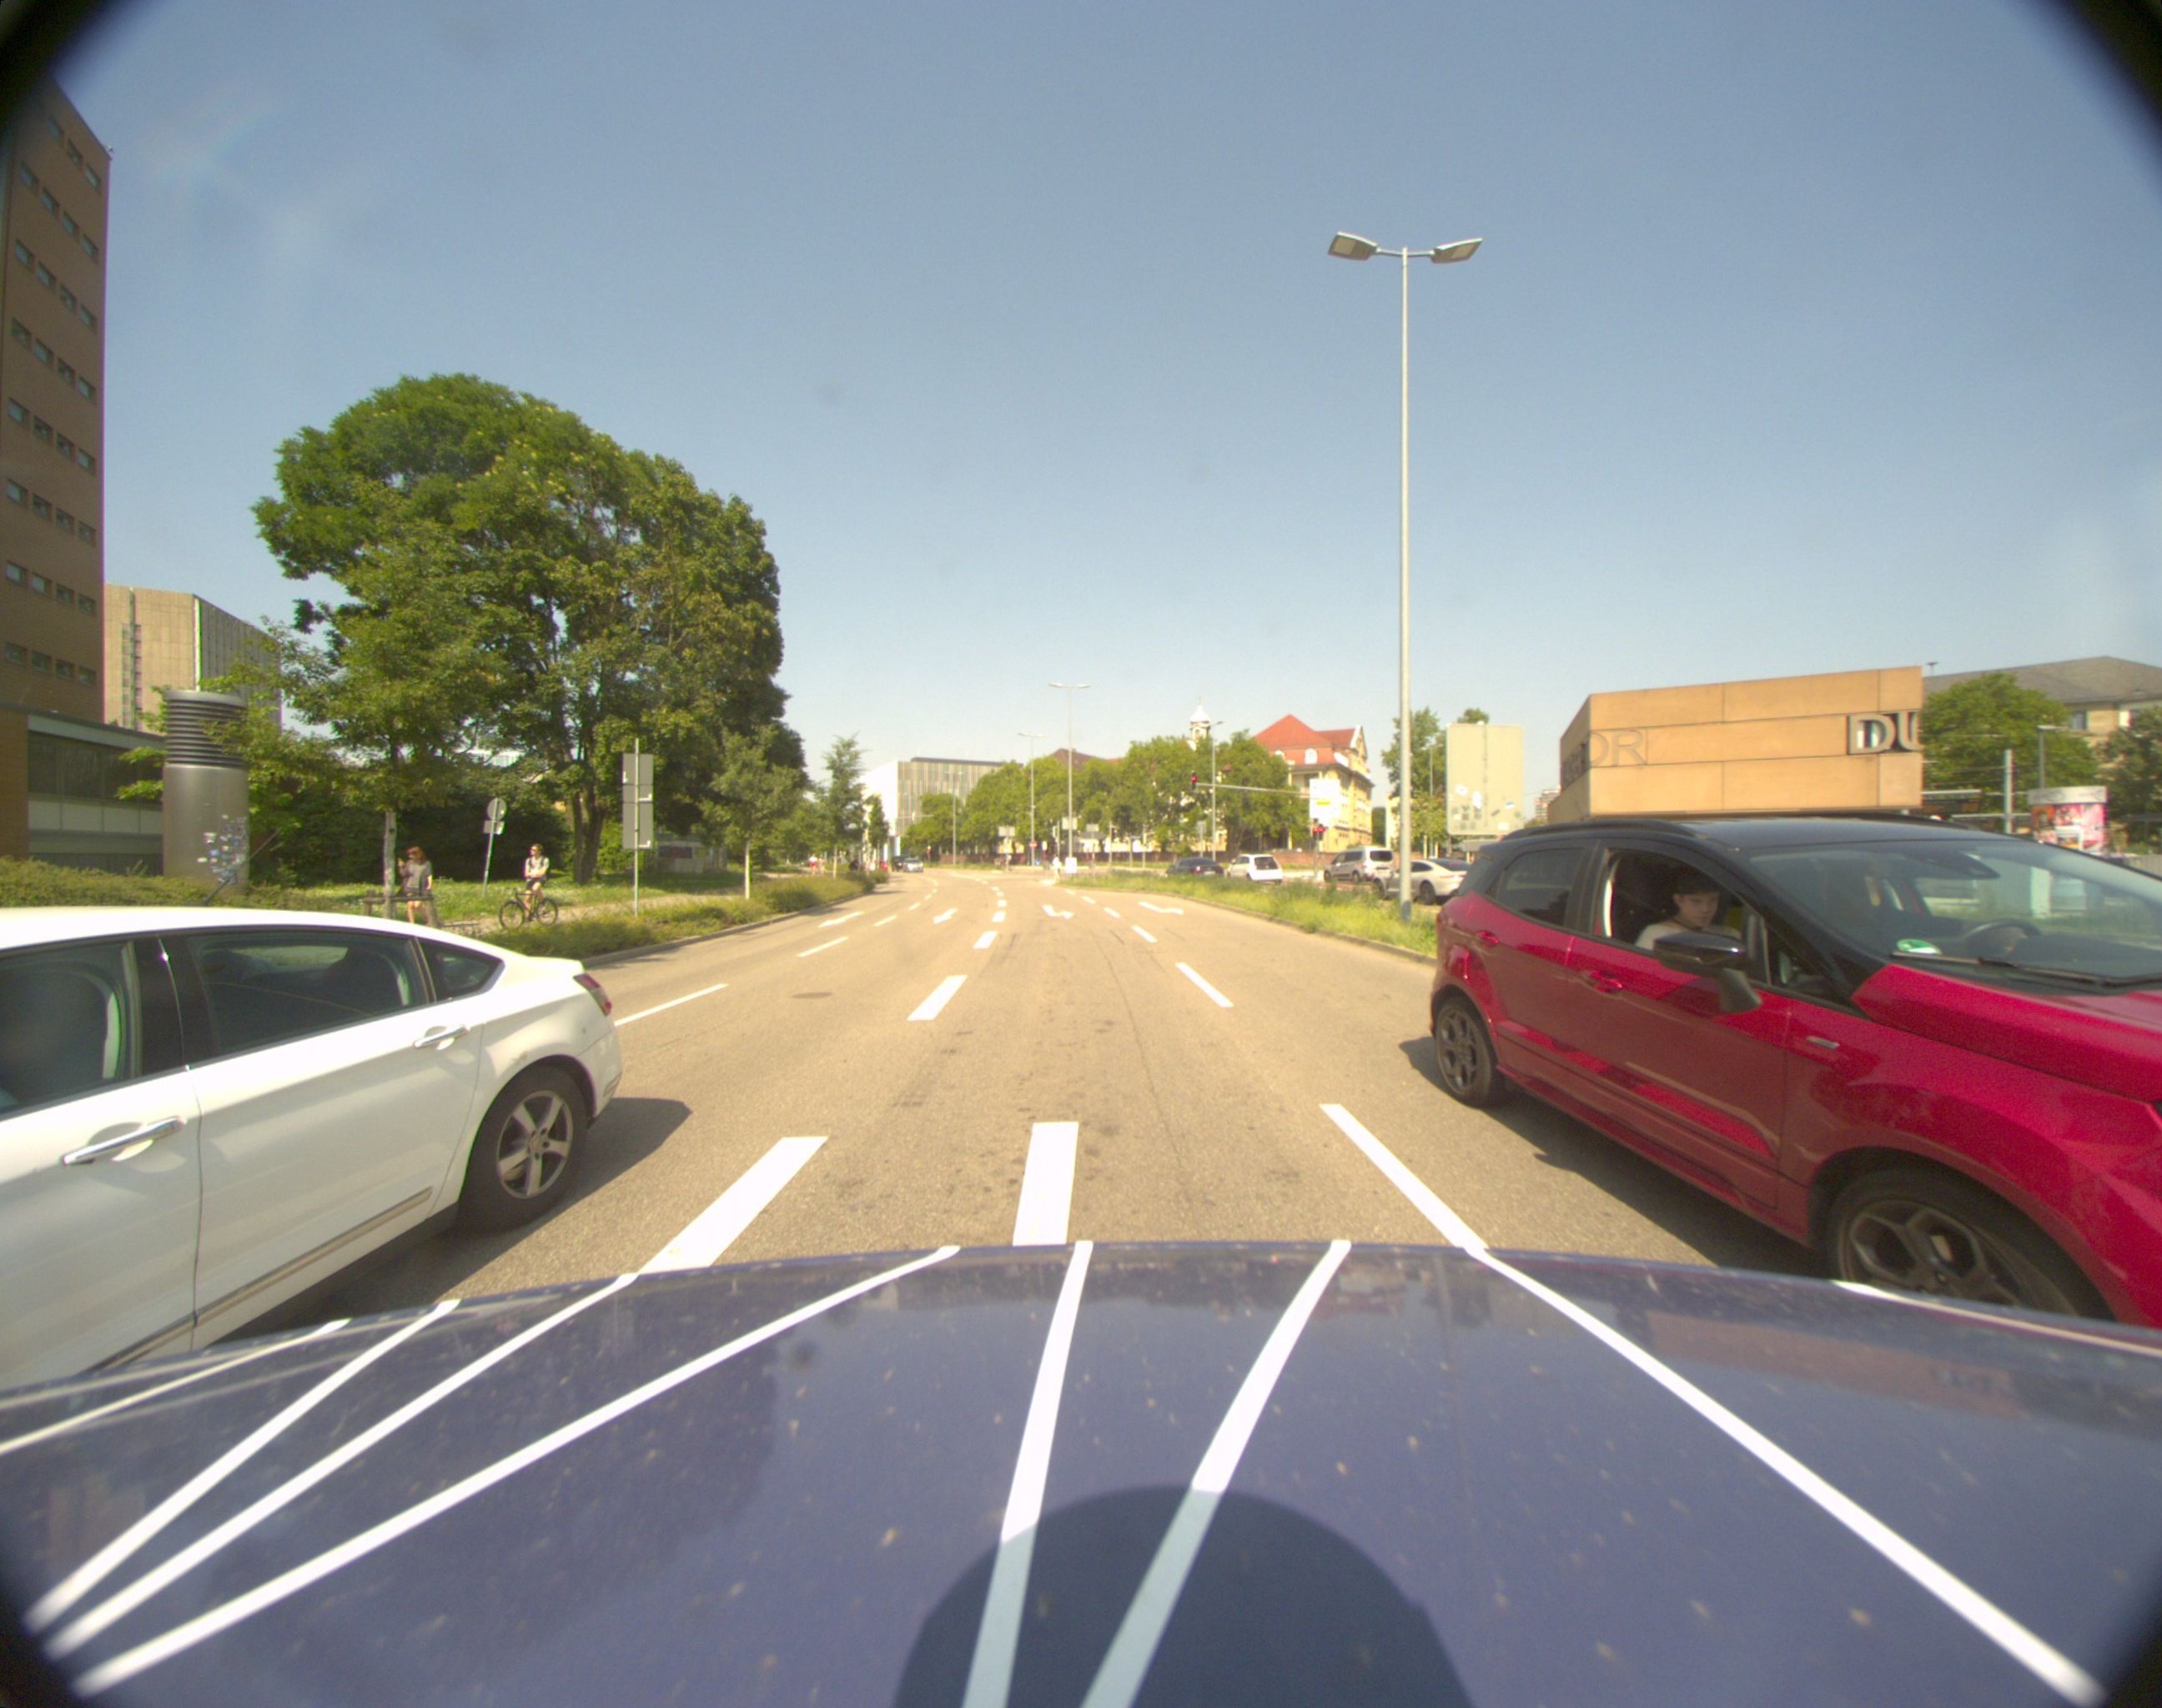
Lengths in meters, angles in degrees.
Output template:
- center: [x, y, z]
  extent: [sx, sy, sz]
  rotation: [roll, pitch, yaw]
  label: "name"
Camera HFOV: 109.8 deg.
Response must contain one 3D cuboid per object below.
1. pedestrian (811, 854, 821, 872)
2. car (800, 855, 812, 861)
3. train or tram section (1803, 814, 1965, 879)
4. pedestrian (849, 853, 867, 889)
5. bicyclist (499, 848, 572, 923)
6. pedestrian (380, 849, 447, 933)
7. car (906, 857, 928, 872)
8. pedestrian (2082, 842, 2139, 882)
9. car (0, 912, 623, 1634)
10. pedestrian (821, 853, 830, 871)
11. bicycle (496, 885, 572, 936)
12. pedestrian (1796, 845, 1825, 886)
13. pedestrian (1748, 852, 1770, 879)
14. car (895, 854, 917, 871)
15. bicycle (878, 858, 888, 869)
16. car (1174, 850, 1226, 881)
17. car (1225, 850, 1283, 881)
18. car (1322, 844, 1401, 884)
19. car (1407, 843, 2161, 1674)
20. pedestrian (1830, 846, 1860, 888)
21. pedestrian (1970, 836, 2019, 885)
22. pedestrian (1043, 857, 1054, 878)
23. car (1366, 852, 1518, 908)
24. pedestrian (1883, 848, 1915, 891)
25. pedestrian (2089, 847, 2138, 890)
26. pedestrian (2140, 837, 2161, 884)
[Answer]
- center: [-19.633, 0.643, 56.320]
  extent: [0.635, 1.291, 0.486]
  rotation: [-3, 1, -22]
  label: "pedestrian"
- center: [-70.028, 0.966, 193.537]
  extent: [1.877, 1.521, 4.522]
  rotation: [0, 0, -31]
  label: "car"
- center: [48.103, -0.405, 46.178]
  extent: [2.698, 3.418, 13.446]
  rotation: [0, 0, 28]
  label: "train or tram section"
- center: [-11.880, 0.904, 40.489]
  extent: [0.823, 1.892, 0.630]
  rotation: [-1, 1, -12]
  label: "pedestrian"
- center: [-11.911, 0.668, 16.620]
  extent: [0.904, 1.596, 0.924]
  rotation: [0, 1, -1]
  label: "bicyclist"
- center: [-13.835, 0.741, 15.766]
  extent: [0.672, 1.689, 0.805]
  rotation: [0, 1, -6]
  label: "pedestrian"
- center: [-18.064, 1.138, 83.353]
  extent: [1.661, 1.521, 4.526]
  rotation: [-2, 0, -21]
  label: "car"
- center: [44.158, 0.337, 32.606]
  extent: [1.076, 1.686, 1.066]
  rotation: [0, 1, 28]
  label: "pedestrian"
- center: [-3.279, 1.018, 1.610]
  extent: [1.773, 1.420, 4.609]
  rotation: [0, 0, 1]
  label: "car"
- center: [-19.052, 0.617, 56.694]
  extent: [0.577, 1.291, 0.436]
  rotation: [-3, 1, -23]
  label: "pedestrian"
- center: [-11.898, 1.203, 16.589]
  extent: [0.357, 0.974, 1.782]
  rotation: [0, 0, 1]
  label: "bicycle"
- center: [26.698, 0.422, 27.804]
  extent: [0.539, 1.488, 0.541]
  rotation: [0, 1, -1]
  label: "pedestrian"
- center: [26.906, 0.452, 30.165]
  extent: [0.538, 1.093, 0.543]
  rotation: [0, 1, 32]
  label: "pedestrian"
- center: [-20.813, 0.948, 90.212]
  extent: [1.893, 1.908, 4.526]
  rotation: [-2, 0, -20]
  label: "car"
- center: [-21.015, 1.032, 80.694]
  extent: [0.594, 1.162, 2.235]
  rotation: [0, 0, -3]
  label: "bicycle"
- center: [5.668, 0.539, 36.506]
  extent: [1.526, 1.417, 3.474]
  rotation: [0, 0, -9]
  label: "car"
- center: [8.642, 0.567, 38.172]
  extent: [1.527, 1.470, 3.474]
  rotation: [0, 0, -11]
  label: "car"
- center: [13.702, 0.437, 37.344]
  extent: [1.869, 1.843, 3.911]
  rotation: [0, 1, -12]
  label: "car"
- center: [2.928, 0.777, 2.894]
  extent: [1.694, 1.577, 3.844]
  rotation: [-2, 0, 0]
  label: "car"
- center: [27.895, 0.470, 27.757]
  extent: [0.539, 1.488, 0.541]
  rotation: [0, 1, -1]
  label: "pedestrian"
- center: [28.049, 0.191, 23.342]
  extent: [0.771, 1.488, 0.606]
  rotation: [0, 1, -1]
  label: "pedestrian"
- center: [-2.082, 0.831, 48.474]
  extent: [0.605, 1.291, 0.617]
  rotation: [-2, 1, -4]
  label: "pedestrian"
- center: [11.068, 0.722, 23.773]
  extent: [2.000, 1.576, 4.711]
  rotation: [0, 0, -9]
  label: "car"
- center: [28.785, 0.545, 26.743]
  extent: [0.539, 1.488, 0.541]
  rotation: [0, 1, -1]
  label: "pedestrian"
- center: [44.223, 0.628, 32.558]
  extent: [0.927, 1.812, 0.939]
  rotation: [0, 1, 28]
  label: "pedestrian"
- center: [41.440, 0.247, 29.137]
  extent: [0.804, 1.812, 0.534]
  rotation: [0, 1, 28]
  label: "pedestrian"
